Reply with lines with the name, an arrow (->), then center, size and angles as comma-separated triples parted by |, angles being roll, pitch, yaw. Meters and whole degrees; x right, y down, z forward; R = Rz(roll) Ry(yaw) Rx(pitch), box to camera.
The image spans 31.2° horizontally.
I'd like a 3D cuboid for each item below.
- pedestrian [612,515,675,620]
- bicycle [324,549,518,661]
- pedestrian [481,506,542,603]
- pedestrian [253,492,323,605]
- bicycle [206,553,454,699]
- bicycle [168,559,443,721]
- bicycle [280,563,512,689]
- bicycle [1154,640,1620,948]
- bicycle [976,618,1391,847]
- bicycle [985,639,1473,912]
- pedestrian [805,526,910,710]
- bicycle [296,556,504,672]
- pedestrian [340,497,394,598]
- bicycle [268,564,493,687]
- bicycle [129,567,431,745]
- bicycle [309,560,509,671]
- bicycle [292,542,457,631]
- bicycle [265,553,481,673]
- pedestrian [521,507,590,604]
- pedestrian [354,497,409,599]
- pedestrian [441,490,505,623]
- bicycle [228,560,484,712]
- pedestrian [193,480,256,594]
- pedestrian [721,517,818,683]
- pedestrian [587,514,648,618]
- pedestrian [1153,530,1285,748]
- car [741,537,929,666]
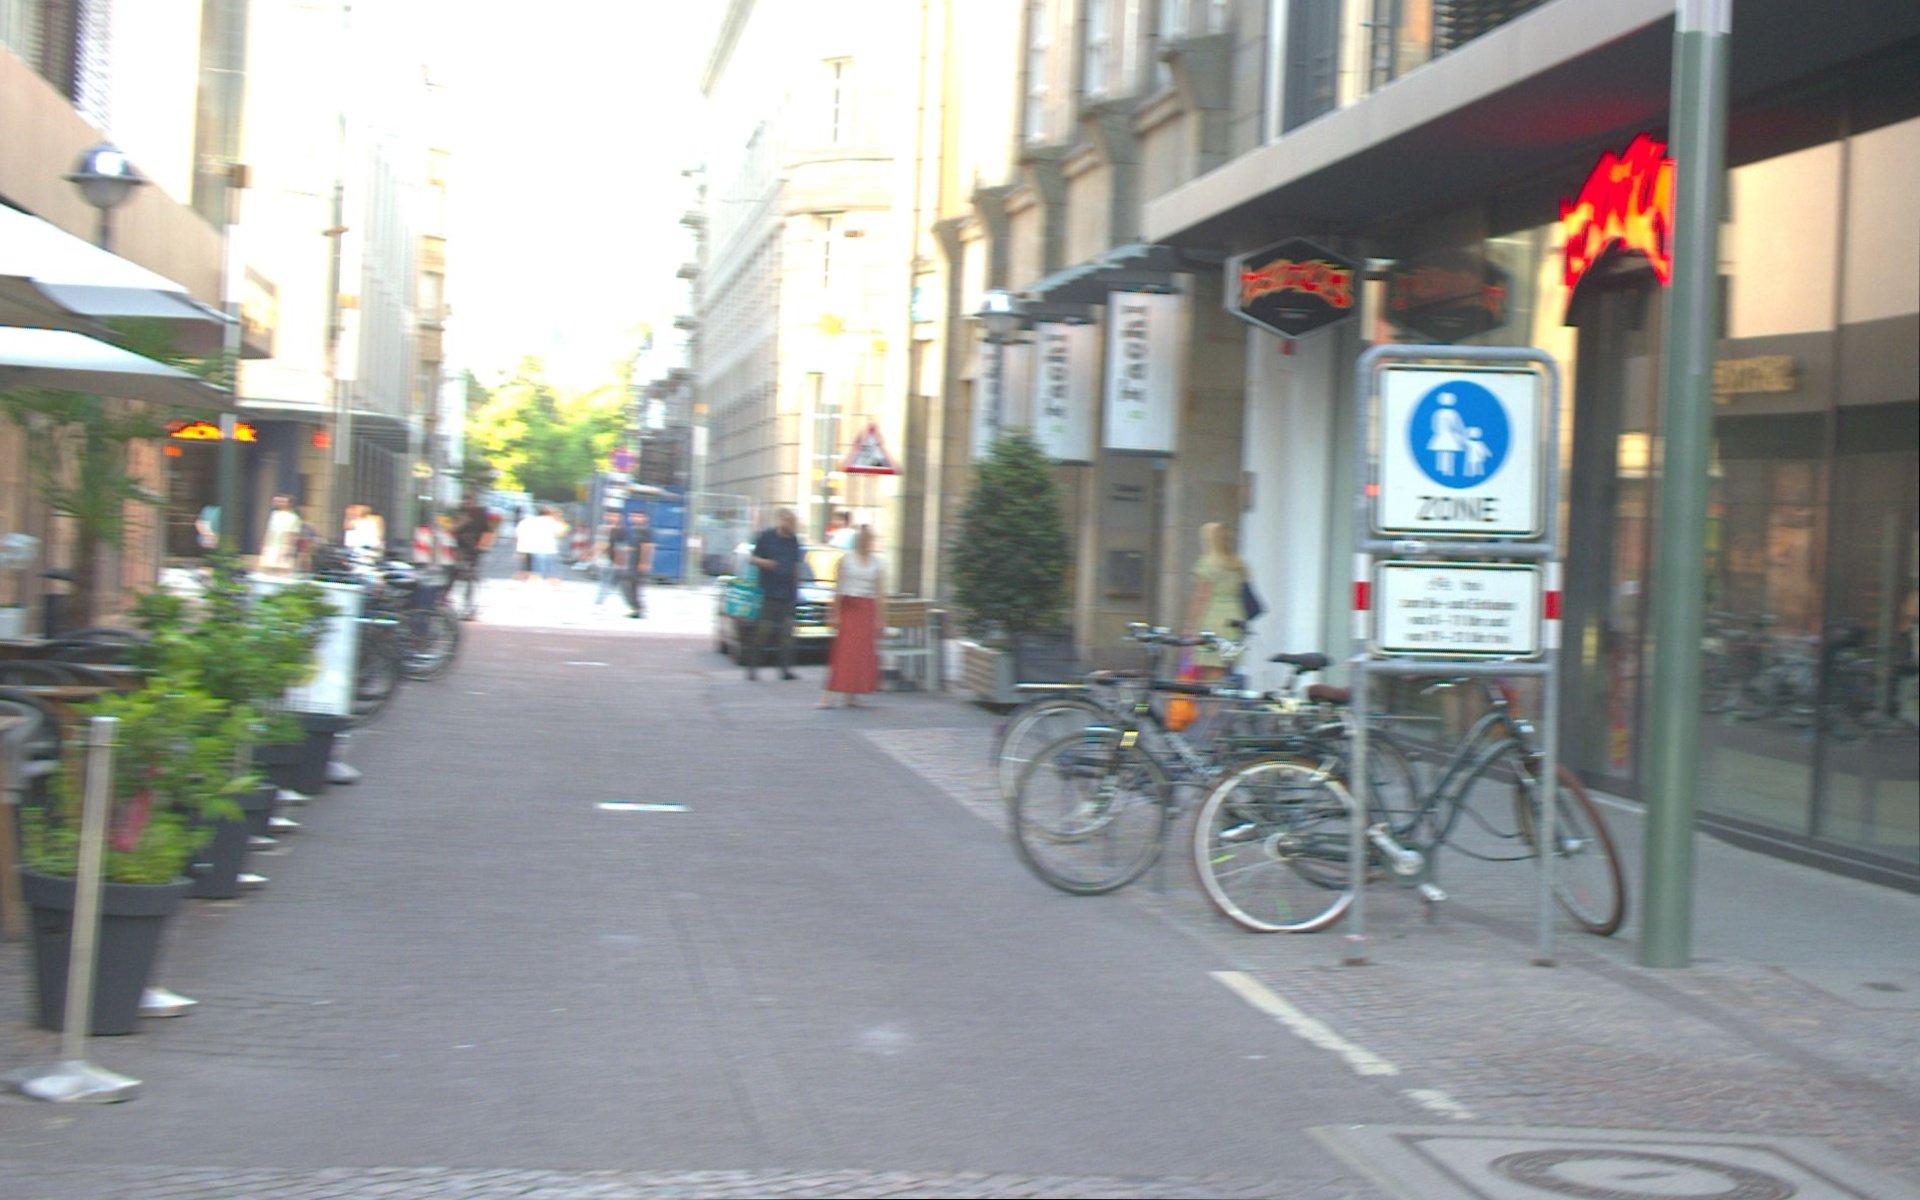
pedestrian -> -5.138, -0.537, 55.720 | 0.904, 1.655, 0.793 | 2, 1, -9
bicycle -> -6.014, 0.051, 38.423 | 2.047, 1.091, 0.467 | 4, 1, -7
pedestrian -> -8.235, -0.838, 63.085 | 0.862, 1.728, 0.934 | 2, 1, 6
pedestrian -> -11.313, -0.875, 57.896 | 1.025, 1.853, 0.907 | 2, 1, -7
bicycle -> -5.273, 0.218, 28.836 | 1.947, 1.071, 0.467 | 4, 1, -7
bicycle -> -4.928, 0.300, 25.959 | 1.947, 1.071, 0.467 | 4, 1, -7
bicycle -> -5.231, 0.240, 31.957 | 2.047, 1.013, 0.467 | 4, 1, -7
bicycle -> 1.623, 0.728, 13.136 | 1.697, 1.132, 0.467 | 0, 1, -7
bicycle -> 1.119, 0.658, 17.327 | 2.033, 1.117, 0.467 | 0, 1, -7
bicycle -> 1.136, 0.733, 14.610 | 2.009, 1.117, 0.467 | 0, 1, -7
pedestrian -> -0.902, 0.146, 30.061 | 0.797, 1.560, 0.859 | 2, 1, -6
bicycle -> -5.836, 0.141, 35.887 | 2.047, 1.046, 0.467 | 4, 1, -7
pedestrian -> -11.211, -0.998, 65.020 | 0.904, 1.853, 0.836 | 2, 1, -7
bicycle -> -5.567, 0.243, 33.091 | 2.047, 1.013, 0.467 | 4, 1, -7
bicycle -> -4.695, 0.385, 23.803 | 1.947, 1.071, 0.467 | 4, 1, -7
bicycle -> -5.965, 0.165, 37.284 | 2.047, 1.046, 0.467 | 4, 1, -7
bicycle -> -7.681, -0.178, 45.136 | 2.047, 1.010, 0.467 | 4, 1, -7
bicycle -> -5.894, 0.129, 34.585 | 2.047, 1.046, 0.467 | 4, 1, -7
pedestrian -> -7.400, -0.814, 62.926 | 1.009, 1.728, 0.981 | 2, 1, 6
pedestrian -> -10.802, -0.973, 64.194 | 0.904, 1.853, 0.836 | 2, 1, -7
pedestrian -> -6.945, -0.619, 49.044 | 0.833, 1.853, 0.907 | 2, 1, -8
bicycle -> -4.863, 0.286, 27.751 | 1.947, 1.071, 0.467 | 4, 1, -7
pedestrian -> -12.236, -1.052, 57.220 | 0.904, 1.853, 0.836 | 2, 1, -7
pedestrian -> -1.972, -0.010, 35.446 | 0.899, 1.655, 0.930 | 2, 1, -5
pedestrian -> -5.631, -0.565, 56.477 | 0.904, 1.655, 0.793 | 2, 1, -9
pedestrian -> 1.914, 0.277, 25.494 | 0.797, 1.560, 0.859 | 2, 1, -4
car -> -1.563, -0.014, 41.571 | 1.753, 1.436, 3.929 | 1, 1, -9
